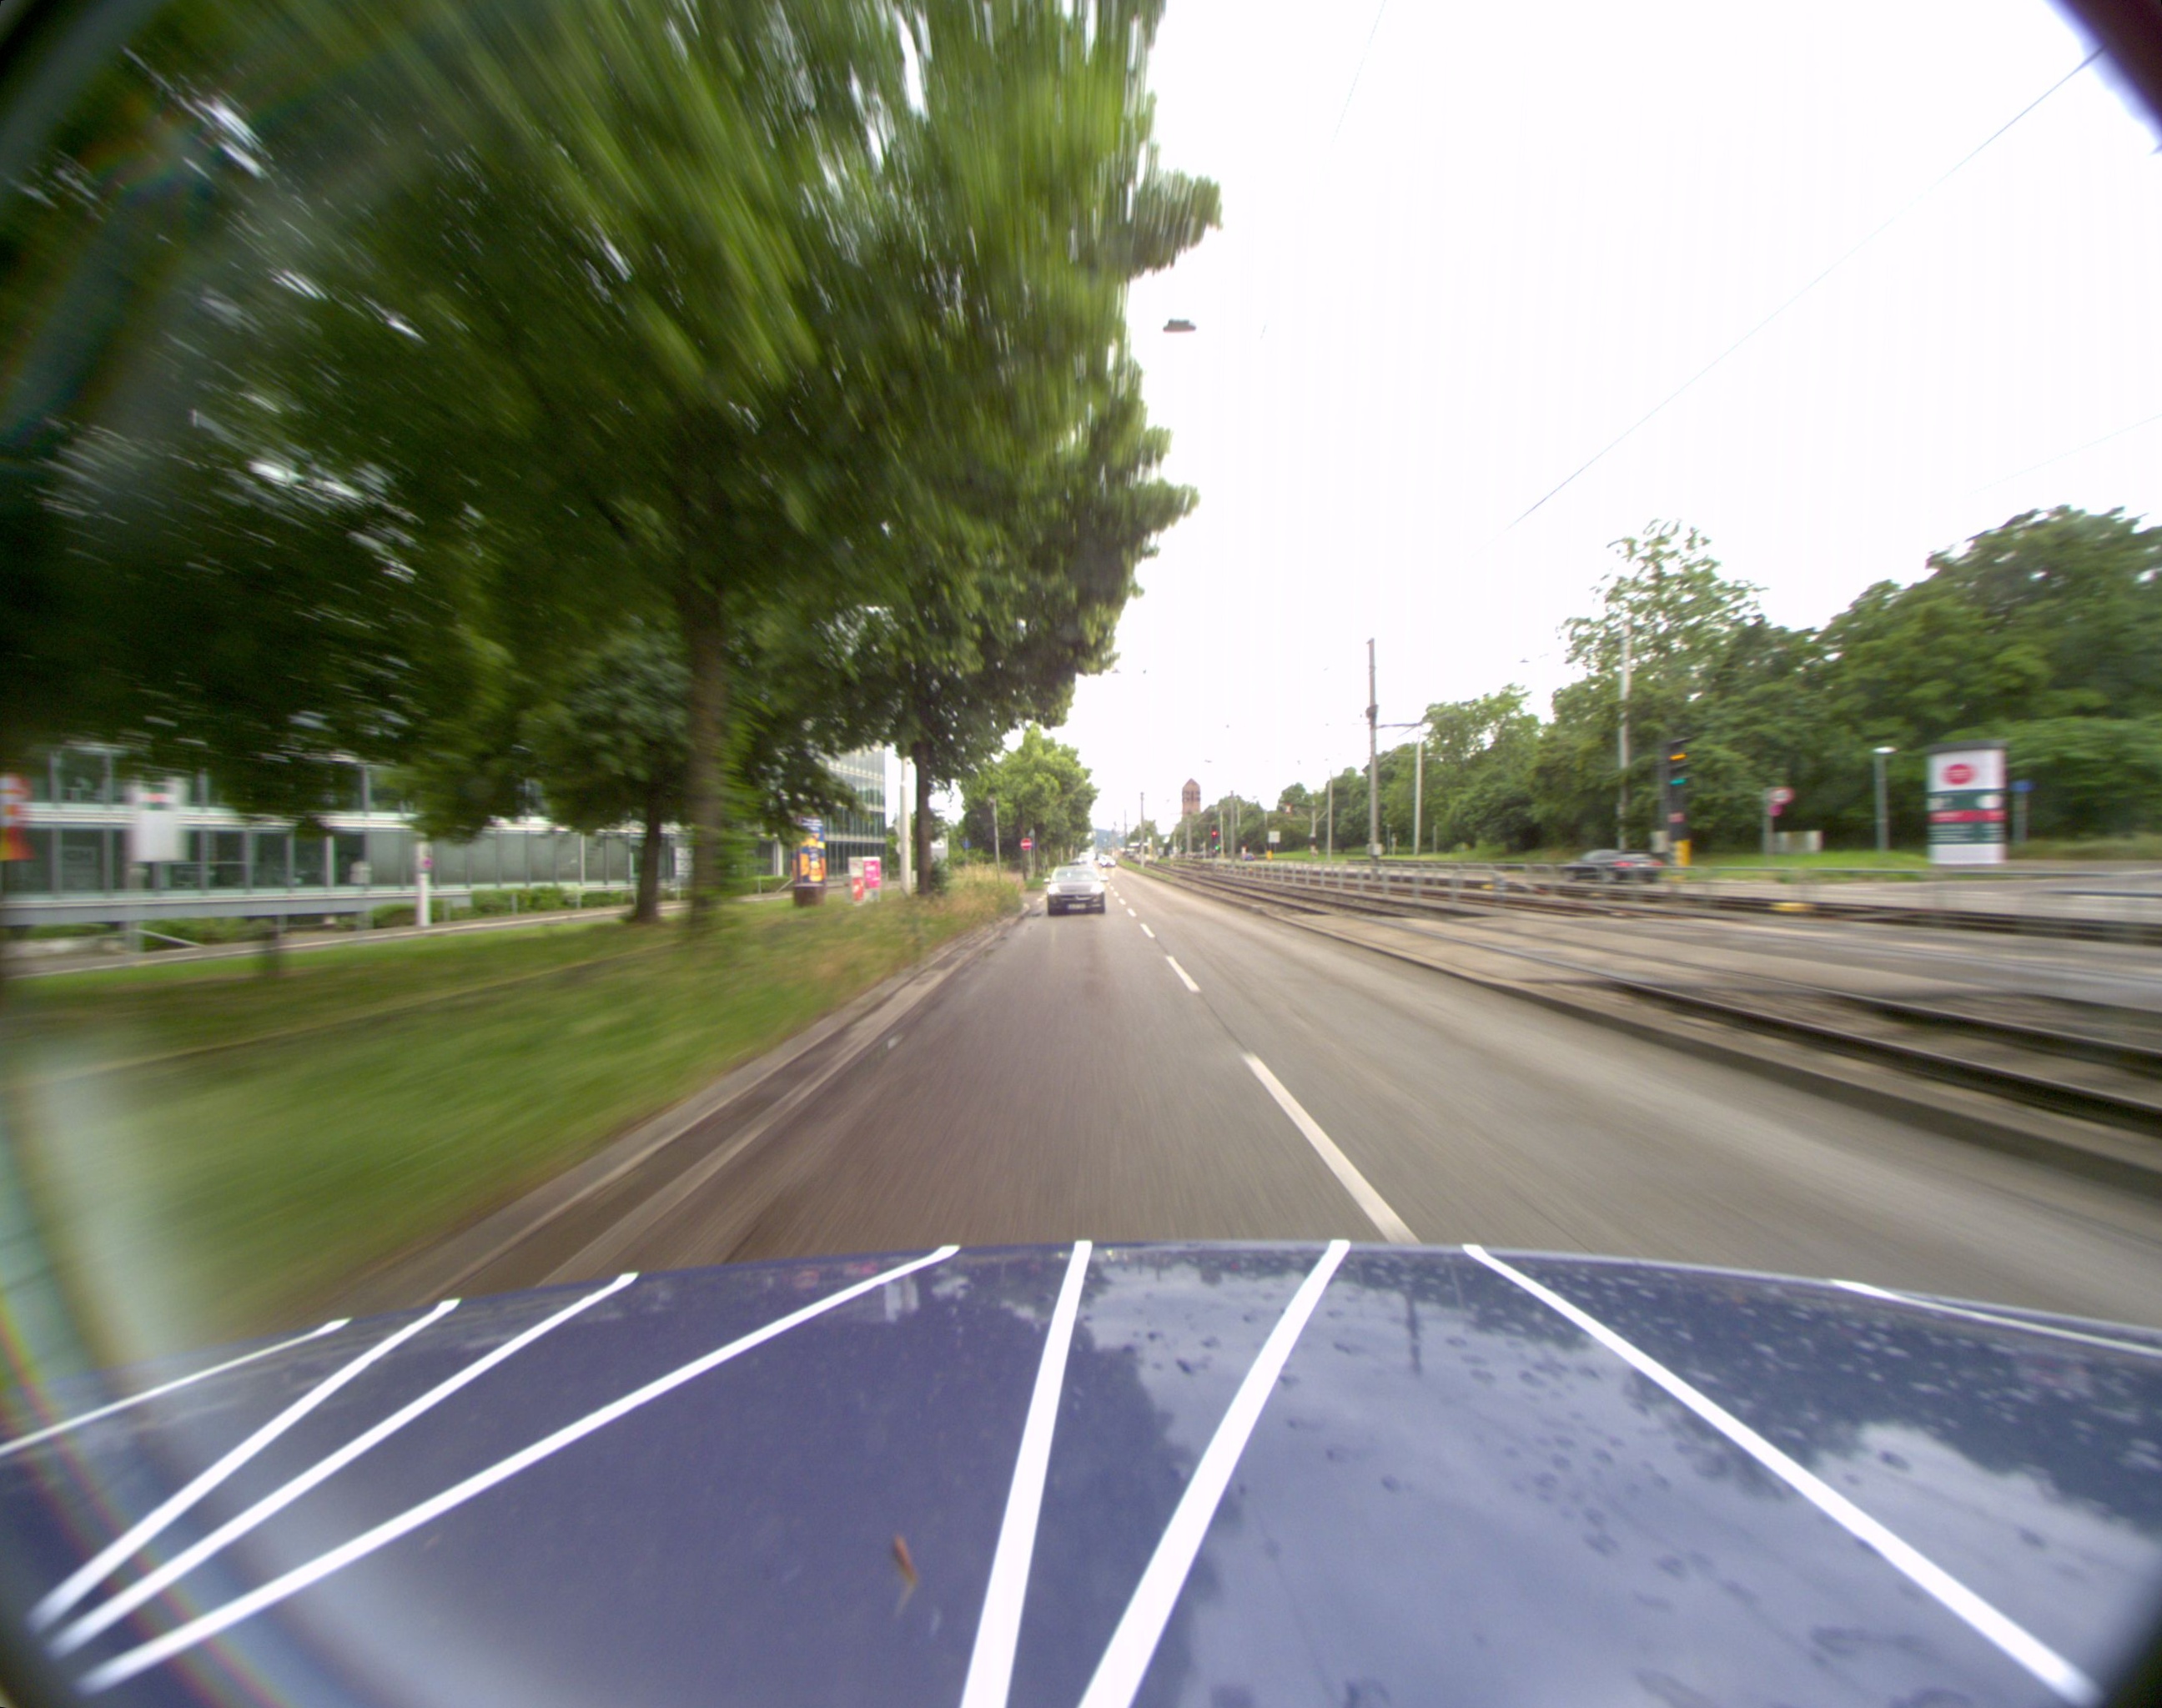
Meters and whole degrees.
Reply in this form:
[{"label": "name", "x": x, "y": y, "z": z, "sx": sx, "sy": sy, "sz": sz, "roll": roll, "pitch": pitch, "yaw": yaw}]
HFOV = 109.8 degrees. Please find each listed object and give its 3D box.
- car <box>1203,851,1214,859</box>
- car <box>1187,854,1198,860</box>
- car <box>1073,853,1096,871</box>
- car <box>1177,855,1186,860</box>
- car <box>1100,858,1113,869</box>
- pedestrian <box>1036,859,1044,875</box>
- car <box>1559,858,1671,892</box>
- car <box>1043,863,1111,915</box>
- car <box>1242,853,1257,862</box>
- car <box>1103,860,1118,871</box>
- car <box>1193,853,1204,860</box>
[{"label": "car", "x": 28.443, "y": 0.235, "z": 169.377, "sx": 1.952, "sy": 1.586, "sz": 4.848, "roll": -1, "pitch": 0, "yaw": 3}, {"label": "car", "x": 28.555, "y": 0.754, "z": 194.528, "sx": 2.094, "sy": 1.579, "sz": 5.159, "roll": -1, "pitch": 0, "yaw": 3}, {"label": "car", "x": 0.351, "y": 0.773, "z": 71.984, "sx": 1.998, "sy": 1.608, "sz": 4.000, "roll": -2, "pitch": 0, "yaw": 1}, {"label": "car", "x": 28.840, "y": 0.883, "z": 217.547, "sx": 1.931, "sy": 1.438, "sz": 4.682, "roll": -1, "pitch": 0, "yaw": 1}, {"label": "car", "x": 3.961, "y": 1.502, "z": 118.184, "sx": 1.812, "sy": 1.566, "sz": 3.971, "roll": -2, "pitch": 0, "yaw": 1}, {"label": "pedestrian", "x": -4.964, "y": 1.573, "z": 92.345, "sx": 0.828, "sy": 1.787, "sz": 0.867, "roll": -2, "pitch": 1, "yaw": 1}, {"label": "car", "x": 21.405, "y": 0.818, "z": 30.653, "sx": 1.760, "sy": 1.236, "sz": 3.988, "roll": -1, "pitch": 0, "yaw": 1}, {"label": "car", "x": -0.078, "y": 1.025, "z": 23.731, "sx": 1.899, "sy": 1.432, "sz": 4.474, "roll": -2, "pitch": -1, "yaw": 1}, {"label": "car", "x": 27.590, "y": 0.590, "z": 124.606, "sx": 1.765, "sy": 1.389, "sz": 3.901, "roll": -1, "pitch": 0, "yaw": 4}, {"label": "car", "x": 3.877, "y": 1.503, "z": 99.903, "sx": 1.899, "sy": 1.432, "sz": 4.247, "roll": -2, "pitch": -1, "yaw": 1}, {"label": "car", "x": 24.927, "y": 0.568, "z": 161.542, "sx": 1.895, "sy": 1.477, "sz": 4.309, "roll": -1, "pitch": 0, "yaw": 4}]
